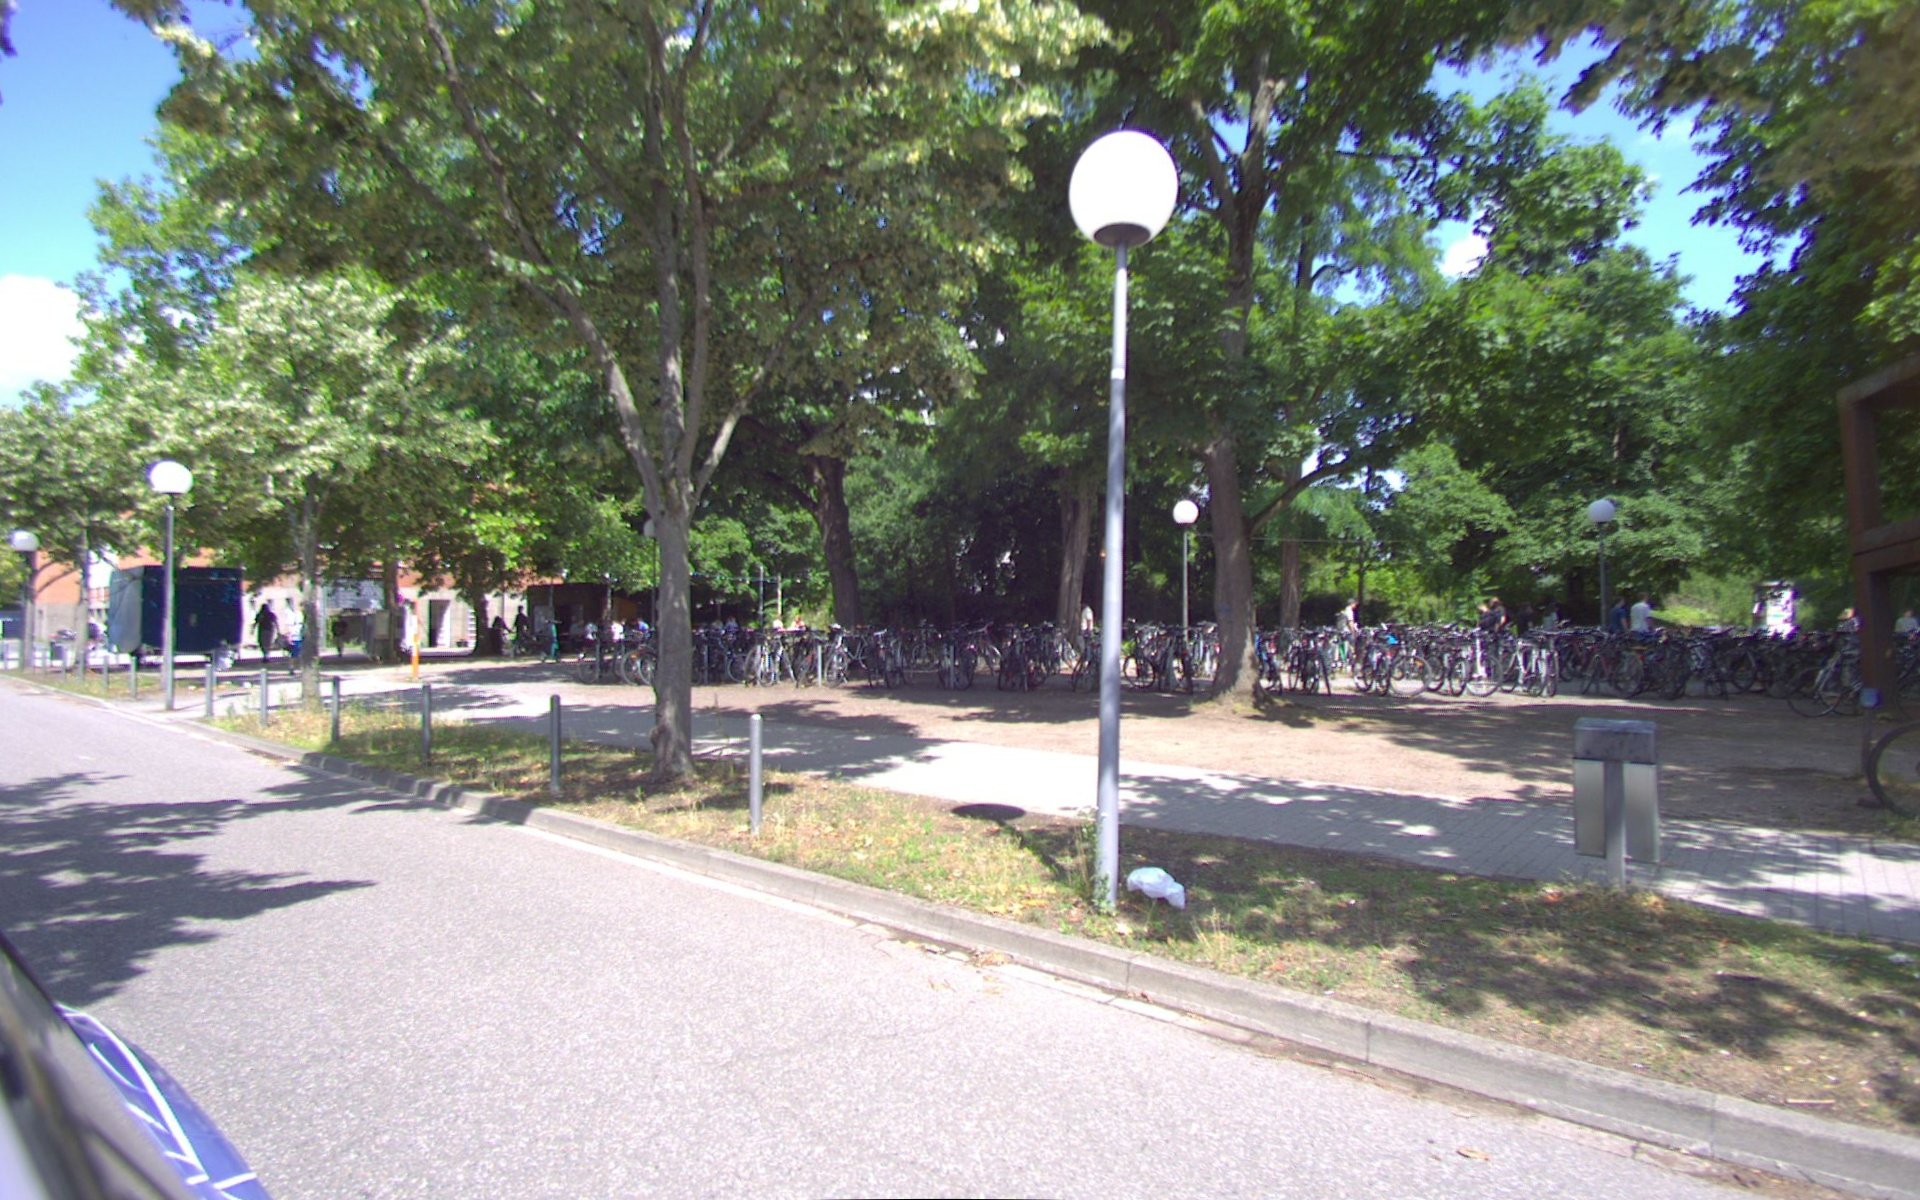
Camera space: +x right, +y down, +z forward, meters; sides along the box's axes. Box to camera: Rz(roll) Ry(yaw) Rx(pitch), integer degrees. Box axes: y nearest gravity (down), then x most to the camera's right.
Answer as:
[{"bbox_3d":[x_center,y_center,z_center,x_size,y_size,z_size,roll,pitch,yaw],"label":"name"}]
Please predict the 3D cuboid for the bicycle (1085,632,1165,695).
[{"bbox_3d":[2.919,1.099,18.226,0.870,1.022,2.784,-1,-1,-2],"label":"bicycle"}]

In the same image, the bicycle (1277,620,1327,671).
[{"bbox_3d":[8.147,1.063,24.202,0.632,1.141,2.057,-1,-1,5],"label":"bicycle"}]

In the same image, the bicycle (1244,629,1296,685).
[{"bbox_3d":[6.642,1.203,21.793,0.632,1.141,2.057,-1,-2,5],"label":"bicycle"}]

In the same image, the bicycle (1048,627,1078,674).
[{"bbox_3d":[2.564,1.230,25.030,0.541,1.097,1.960,-1,-1,11],"label":"bicycle"}]

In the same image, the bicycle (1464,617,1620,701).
[{"bbox_3d":[9.854,0.952,17.327,0.870,1.296,2.934,-1,-1,-2],"label":"bicycle"}]

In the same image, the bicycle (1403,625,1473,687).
[{"bbox_3d":[9.958,1.139,21.158,0.632,1.141,2.057,-1,0,5],"label":"bicycle"}]

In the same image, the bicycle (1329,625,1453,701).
[{"bbox_3d":[7.352,1.029,17.445,0.870,1.188,2.710,-1,-1,-2],"label":"bicycle"}]

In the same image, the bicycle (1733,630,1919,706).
[{"bbox_3d":[14.755,1.115,17.387,0.732,1.076,2.764,-1,1,-2],"label":"bicycle"}]

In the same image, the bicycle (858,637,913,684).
[{"bbox_3d":[-1.848,1.499,25.478,0.544,1.097,1.952,-1,-1,23],"label":"bicycle"}]

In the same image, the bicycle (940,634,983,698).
[{"bbox_3d":[-0.005,1.151,18.310,0.668,1.016,2.652,-1,-1,-2],"label":"bicycle"}]

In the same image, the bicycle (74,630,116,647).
[{"bbox_3d":[-55.551,2.479,65.003,0.621,1.090,1.989,-2,-2,39],"label":"bicycle"}]

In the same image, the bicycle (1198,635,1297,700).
[{"bbox_3d":[5.014,1.145,17.875,0.870,1.010,2.735,-1,-1,-2],"label":"bicycle"}]

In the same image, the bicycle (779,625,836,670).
[{"bbox_3d":[-3.965,1.219,26.462,0.534,1.097,1.952,-1,-1,23],"label":"bicycle"}]

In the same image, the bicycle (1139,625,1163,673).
[{"bbox_3d":[4.636,1.167,24.514,0.541,1.097,1.960,-1,-1,11],"label":"bicycle"}]

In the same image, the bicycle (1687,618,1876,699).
[{"bbox_3d":[13.628,0.937,16.946,0.732,1.242,2.838,0,-2,-2],"label":"bicycle"}]

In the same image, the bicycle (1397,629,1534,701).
[{"bbox_3d":[8.519,1.060,17.235,0.870,1.084,2.685,-1,-1,-2],"label":"bicycle"}]

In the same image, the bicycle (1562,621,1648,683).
[{"bbox_3d":[13.501,1.056,21.247,0.632,1.141,2.057,-1,1,5],"label":"bicycle"}]

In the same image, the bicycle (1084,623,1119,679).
[{"bbox_3d":[3.083,1.087,22.158,0.632,1.167,2.057,-1,-1,5],"label":"bicycle"}]

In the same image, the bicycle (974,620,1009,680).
[{"bbox_3d":[0.721,1.099,22.718,0.632,1.244,2.057,-1,-1,5],"label":"bicycle"}]

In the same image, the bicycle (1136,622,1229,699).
[{"bbox_3d":[3.821,1.005,17.695,0.870,1.230,2.909,-1,-1,-2],"label":"bicycle"}]

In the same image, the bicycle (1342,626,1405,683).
[{"bbox_3d":[8.776,1.134,21.569,0.632,1.141,2.057,-1,-1,5],"label":"bicycle"}]

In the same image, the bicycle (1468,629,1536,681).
[{"bbox_3d":[12.675,1.262,23.725,0.632,1.141,2.057,0,-1,5],"label":"bicycle"}]

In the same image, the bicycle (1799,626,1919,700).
[{"bbox_3d":[15.973,1.050,17.286,0.732,1.165,2.912,-1,-1,-2],"label":"bicycle"}]

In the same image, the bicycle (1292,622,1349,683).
[{"bbox_3d":[7.676,1.097,21.610,0.632,1.141,2.057,-1,1,5],"label":"bicycle"}]

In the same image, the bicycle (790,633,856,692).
[{"bbox_3d":[-2.548,1.150,18.979,0.670,1.016,1.885,-1,-1,11],"label":"bicycle"}]

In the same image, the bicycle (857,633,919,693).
[{"bbox_3d":[-1.320,1.148,18.943,0.670,1.016,2.147,-1,-1,10],"label":"bicycle"}]

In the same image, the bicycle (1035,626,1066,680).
[{"bbox_3d":[2.032,1.160,22.685,0.632,1.141,2.057,-1,-1,5],"label":"bicycle"}]

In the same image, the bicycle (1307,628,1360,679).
[{"bbox_3d":[8.952,1.257,24.342,0.632,1.141,2.057,-1,-1,5],"label":"bicycle"}]

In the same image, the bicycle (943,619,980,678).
[{"bbox_3d":[0.056,1.068,22.791,0.632,1.244,2.057,-1,-1,5],"label":"bicycle"}]

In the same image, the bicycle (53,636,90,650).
[{"bbox_3d":[-64.735,3.121,73.722,0.568,0.948,1.931,-2,-2,39],"label":"bicycle"}]

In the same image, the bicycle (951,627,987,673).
[{"bbox_3d":[0.238,1.231,25.295,0.541,1.097,1.960,-1,-1,11],"label":"bicycle"}]

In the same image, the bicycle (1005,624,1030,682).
[{"bbox_3d":[1.297,1.151,22.678,0.473,1.141,2.057,-1,1,5],"label":"bicycle"}]

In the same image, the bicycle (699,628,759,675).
[{"bbox_3d":[-5.677,1.257,24.985,0.543,1.097,1.849,-1,-1,19],"label":"bicycle"}]

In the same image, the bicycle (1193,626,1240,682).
[{"bbox_3d":[5.534,1.136,21.919,0.632,1.141,2.057,-1,-2,5],"label":"bicycle"}]

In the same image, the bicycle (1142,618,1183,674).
[{"bbox_3d":[4.385,0.978,22.040,0.632,1.141,2.057,-1,-1,5],"label":"bicycle"}]

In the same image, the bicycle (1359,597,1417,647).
[{"bbox_3d":[10.255,0.524,24.321,0.632,1.141,2.057,-1,-1,5],"label":"bicycle"}]

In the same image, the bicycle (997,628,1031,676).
[{"bbox_3d":[1.330,1.241,24.599,0.541,1.097,1.960,-1,-1,11],"label":"bicycle"}]

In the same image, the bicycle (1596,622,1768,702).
[{"bbox_3d":[12.254,0.999,17.343,0.732,1.134,2.962,-1,1,-2],"label":"bicycle"}]

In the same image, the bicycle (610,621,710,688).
[{"bbox_3d":[-5.943,1.059,20.191,0.804,1.244,2.045,-1,-1,23],"label":"bicycle"}]

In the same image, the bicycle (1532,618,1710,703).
[{"bbox_3d":[11.076,0.960,17.173,0.870,1.306,3.084,-1,-1,-2],"label":"bicycle"}]

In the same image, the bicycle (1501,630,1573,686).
[{"bbox_3d":[13.440,1.319,23.629,0.632,1.141,2.057,-1,1,5],"label":"bicycle"}]

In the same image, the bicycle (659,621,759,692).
[{"bbox_3d":[-4.852,1.060,19.721,0.804,1.244,2.045,-1,0,23],"label":"bicycle"}]

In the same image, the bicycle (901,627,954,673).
[{"bbox_3d":[-0.806,1.236,25.588,0.544,1.097,1.952,-1,-1,23],"label":"bicycle"}]

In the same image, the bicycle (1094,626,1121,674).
[{"bbox_3d":[3.611,1.201,24.640,0.541,1.097,1.960,-1,-1,11],"label":"bicycle"}]

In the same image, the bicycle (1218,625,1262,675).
[{"bbox_3d":[6.719,1.182,24.385,0.632,1.141,2.057,-1,-1,5],"label":"bicycle"}]

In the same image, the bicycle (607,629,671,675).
[{"bbox_3d":[-8.060,1.299,25.526,0.543,1.097,1.849,-1,-1,19],"label":"bicycle"}]

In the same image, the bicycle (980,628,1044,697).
[{"bbox_3d":[0.875,1.060,17.861,0.870,1.094,2.752,-1,-1,-2],"label":"bicycle"}]

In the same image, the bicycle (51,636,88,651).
[{"bbox_3d":[-65.831,3.198,74.825,0.529,1.038,1.931,-2,-2,39],"label":"bicycle"}]

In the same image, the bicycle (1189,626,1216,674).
[{"bbox_3d":[5.850,1.187,24.498,0.541,1.097,1.960,-1,-1,11],"label":"bicycle"}]

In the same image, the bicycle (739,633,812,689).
[{"bbox_3d":[-3.568,1.162,19.763,0.670,1.016,2.147,-1,-1,11],"label":"bicycle"}]

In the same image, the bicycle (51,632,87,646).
[{"bbox_3d":[-67.522,2.917,76.705,0.518,1.038,1.931,-2,-2,39],"label":"bicycle"}]

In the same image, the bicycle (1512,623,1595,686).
[{"bbox_3d":[12.401,1.113,21.229,0.666,1.141,2.057,-1,1,5],"label":"bicycle"}]

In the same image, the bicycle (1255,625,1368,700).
[{"bbox_3d":[6.102,1.045,17.794,0.870,1.187,2.884,-1,-1,-2],"label":"bicycle"}]

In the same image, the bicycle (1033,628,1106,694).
[{"bbox_3d":[1.904,1.037,18.043,0.870,1.058,2.834,-1,-1,-2],"label":"bicycle"}]

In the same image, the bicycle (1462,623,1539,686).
[{"bbox_3d":[11.154,1.095,20.966,0.632,1.141,2.057,-1,1,5],"label":"bicycle"}]

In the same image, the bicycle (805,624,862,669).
[{"bbox_3d":[-3.237,1.187,26.051,0.544,1.097,1.952,-1,-1,23],"label":"bicycle"}]

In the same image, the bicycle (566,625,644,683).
[{"bbox_3d":[-7.313,1.090,20.928,0.456,1.140,1.765,-1,-1,23],"label":"bicycle"}]
